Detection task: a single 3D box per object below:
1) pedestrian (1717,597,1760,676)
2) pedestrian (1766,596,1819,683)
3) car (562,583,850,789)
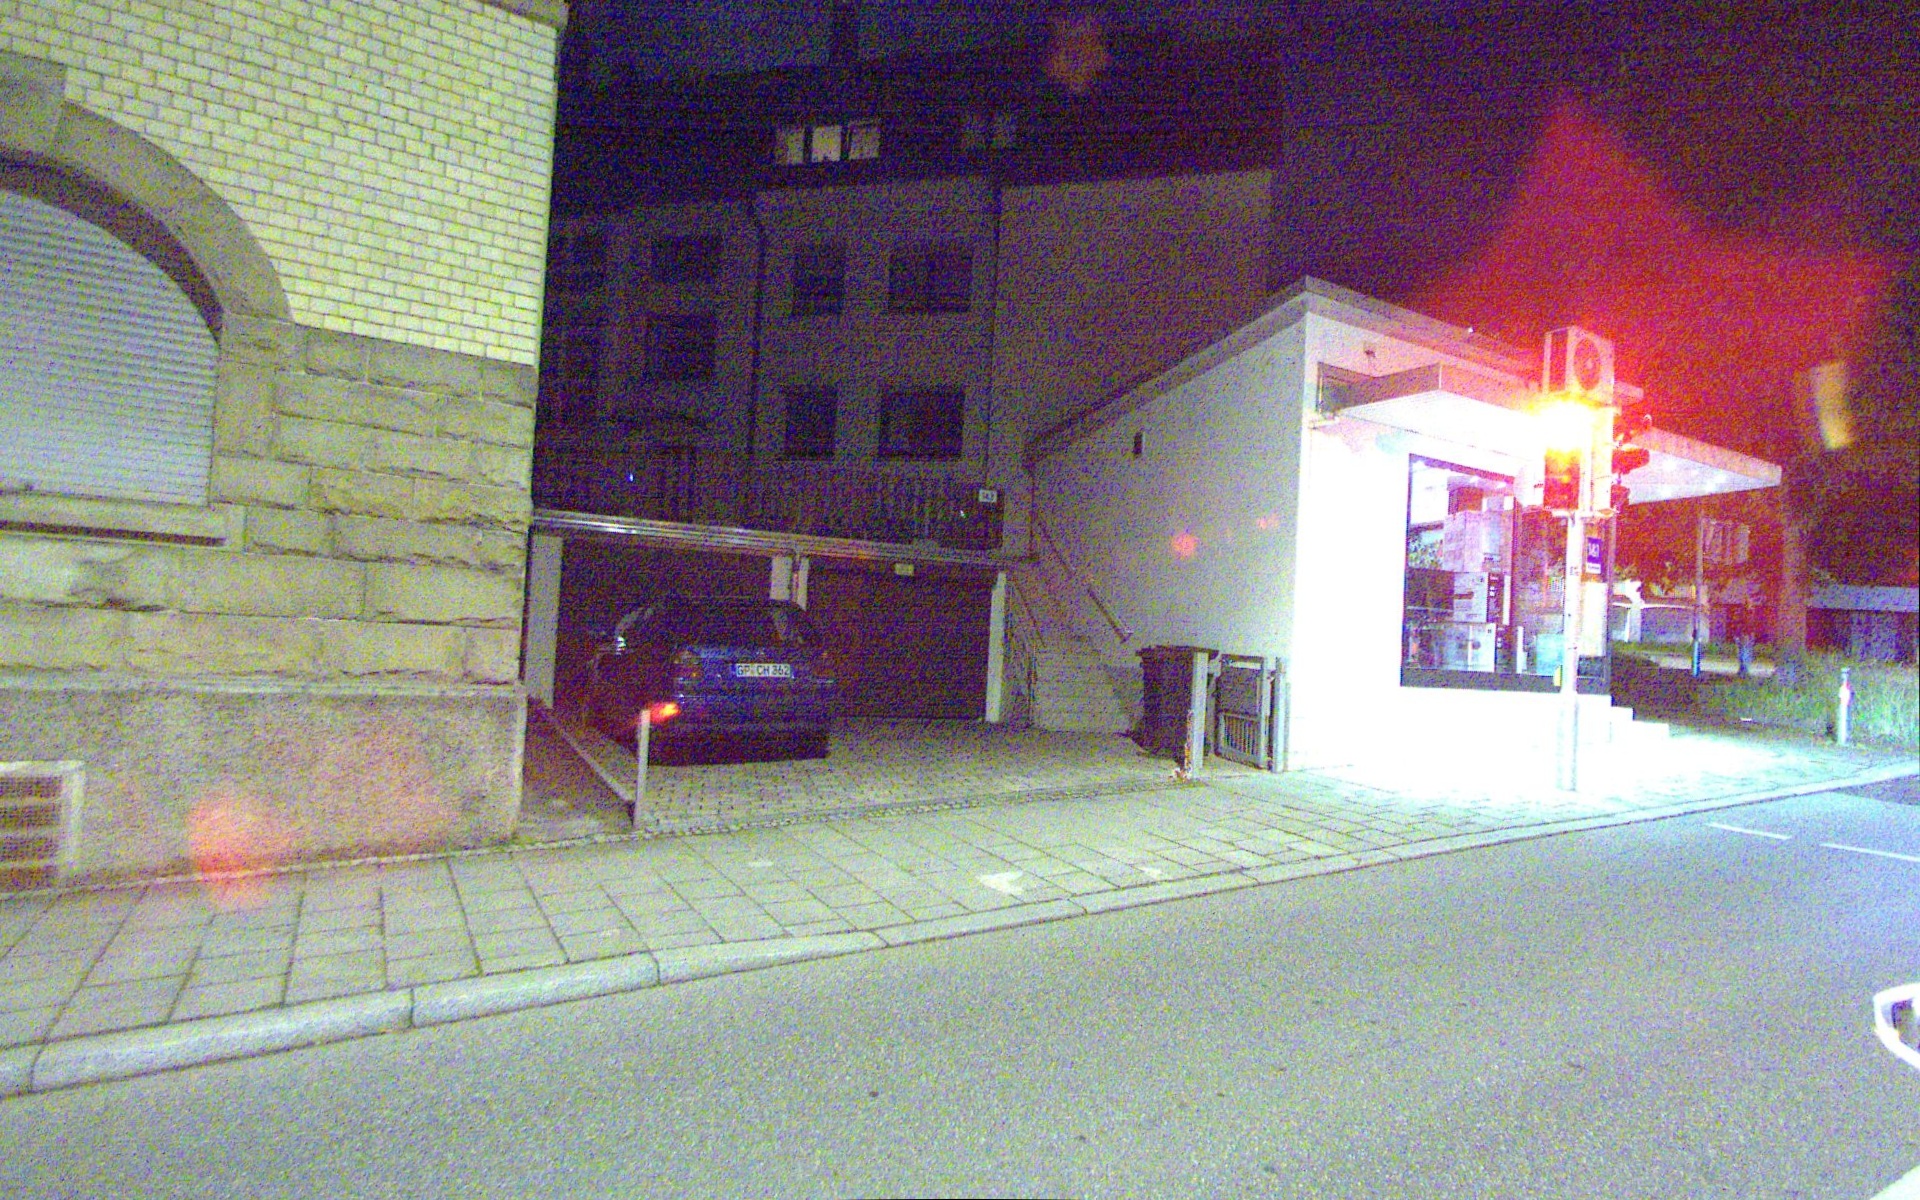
[{"bbox_3d":[17.722,0.829,22.869,0.537,1.754,0.567,2,0,-30],"label":"pedestrian"},{"bbox_3d":[17.685,0.838,21.340,0.729,1.801,0.567,2,2,-30],"label":"pedestrian"},{"bbox_3d":[-2.577,0.640,9.537,1.700,1.460,3.631,2,1,-30],"label":"car"}]
